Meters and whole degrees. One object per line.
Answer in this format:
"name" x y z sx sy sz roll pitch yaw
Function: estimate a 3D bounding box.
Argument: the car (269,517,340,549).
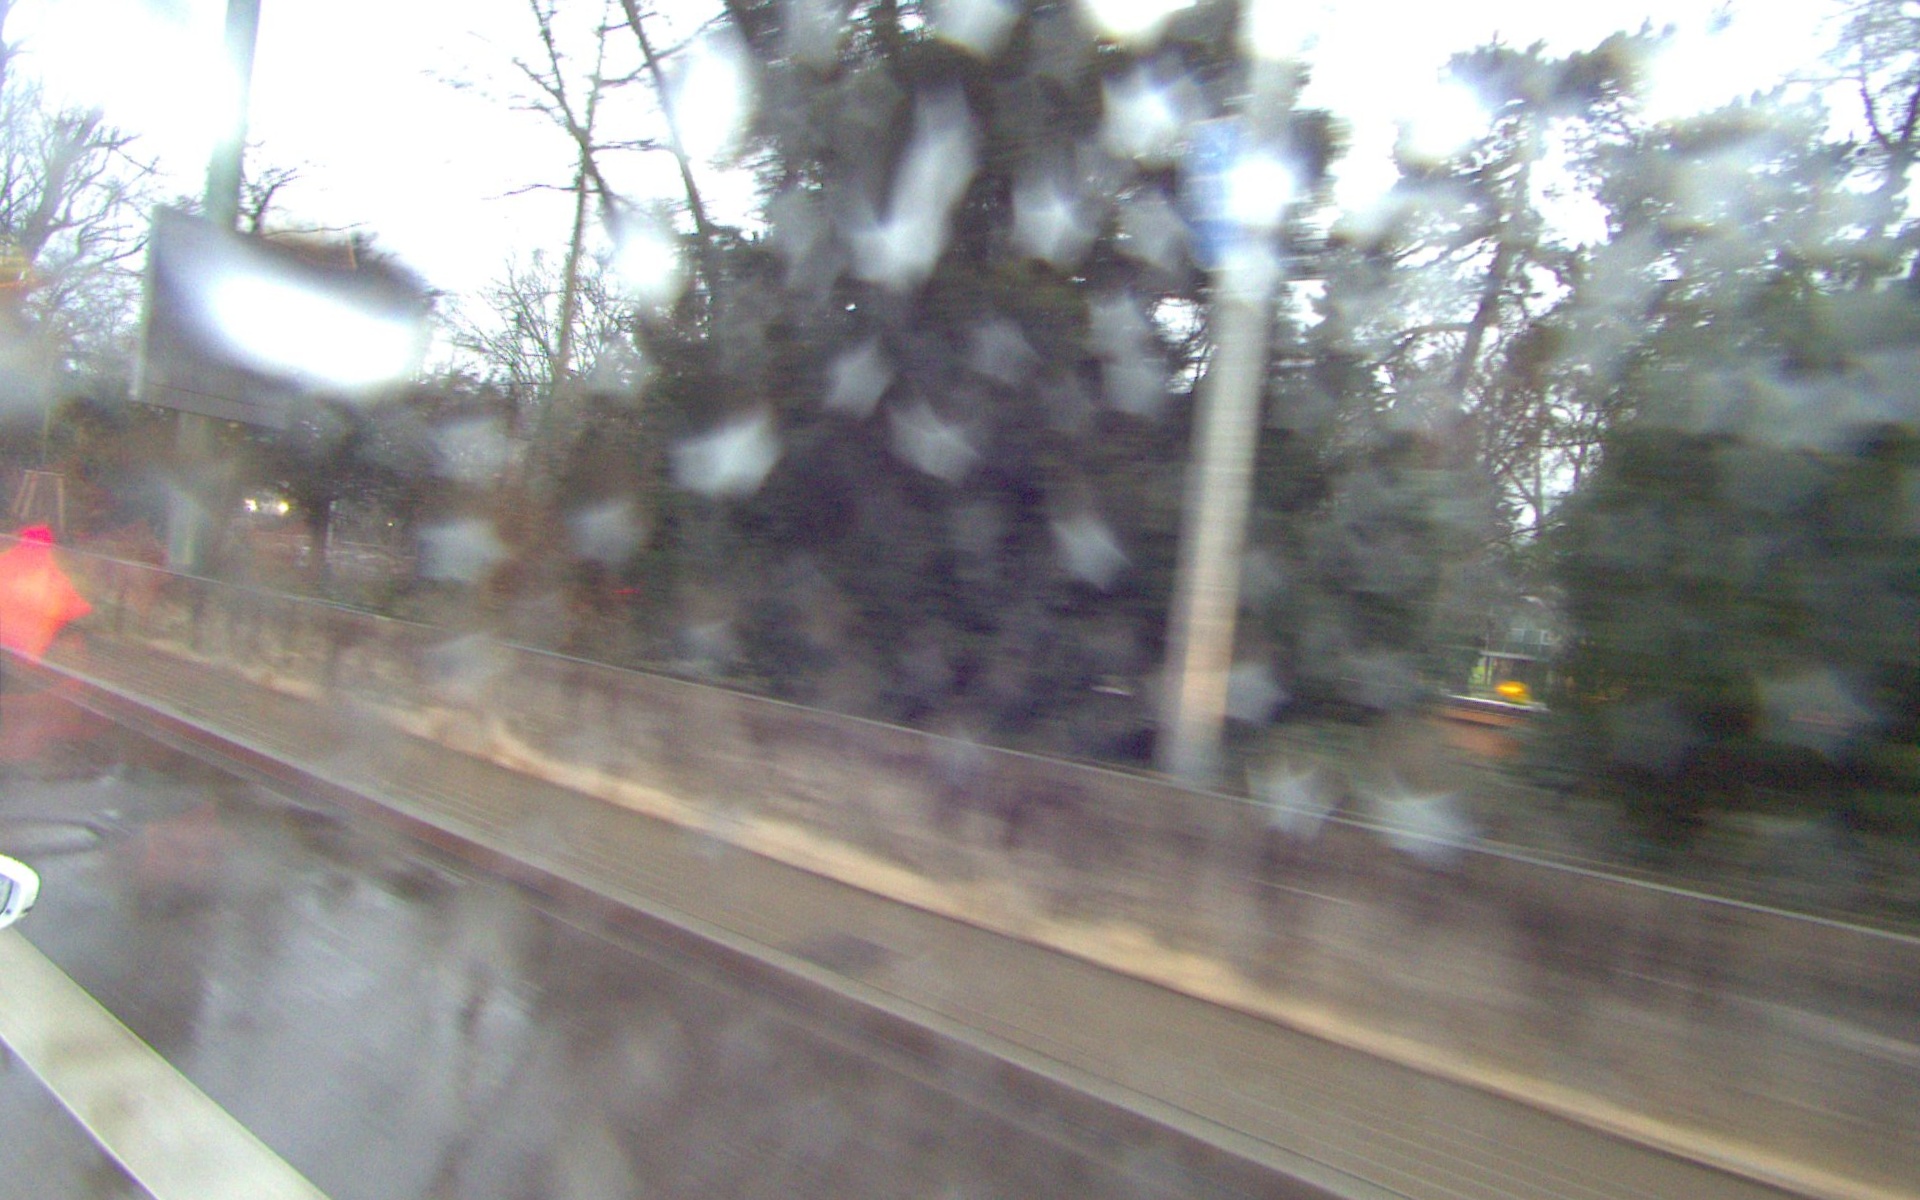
"car" -49.156 -5.022 75.487 3.929 1.681 1.818 8 -1 -4
